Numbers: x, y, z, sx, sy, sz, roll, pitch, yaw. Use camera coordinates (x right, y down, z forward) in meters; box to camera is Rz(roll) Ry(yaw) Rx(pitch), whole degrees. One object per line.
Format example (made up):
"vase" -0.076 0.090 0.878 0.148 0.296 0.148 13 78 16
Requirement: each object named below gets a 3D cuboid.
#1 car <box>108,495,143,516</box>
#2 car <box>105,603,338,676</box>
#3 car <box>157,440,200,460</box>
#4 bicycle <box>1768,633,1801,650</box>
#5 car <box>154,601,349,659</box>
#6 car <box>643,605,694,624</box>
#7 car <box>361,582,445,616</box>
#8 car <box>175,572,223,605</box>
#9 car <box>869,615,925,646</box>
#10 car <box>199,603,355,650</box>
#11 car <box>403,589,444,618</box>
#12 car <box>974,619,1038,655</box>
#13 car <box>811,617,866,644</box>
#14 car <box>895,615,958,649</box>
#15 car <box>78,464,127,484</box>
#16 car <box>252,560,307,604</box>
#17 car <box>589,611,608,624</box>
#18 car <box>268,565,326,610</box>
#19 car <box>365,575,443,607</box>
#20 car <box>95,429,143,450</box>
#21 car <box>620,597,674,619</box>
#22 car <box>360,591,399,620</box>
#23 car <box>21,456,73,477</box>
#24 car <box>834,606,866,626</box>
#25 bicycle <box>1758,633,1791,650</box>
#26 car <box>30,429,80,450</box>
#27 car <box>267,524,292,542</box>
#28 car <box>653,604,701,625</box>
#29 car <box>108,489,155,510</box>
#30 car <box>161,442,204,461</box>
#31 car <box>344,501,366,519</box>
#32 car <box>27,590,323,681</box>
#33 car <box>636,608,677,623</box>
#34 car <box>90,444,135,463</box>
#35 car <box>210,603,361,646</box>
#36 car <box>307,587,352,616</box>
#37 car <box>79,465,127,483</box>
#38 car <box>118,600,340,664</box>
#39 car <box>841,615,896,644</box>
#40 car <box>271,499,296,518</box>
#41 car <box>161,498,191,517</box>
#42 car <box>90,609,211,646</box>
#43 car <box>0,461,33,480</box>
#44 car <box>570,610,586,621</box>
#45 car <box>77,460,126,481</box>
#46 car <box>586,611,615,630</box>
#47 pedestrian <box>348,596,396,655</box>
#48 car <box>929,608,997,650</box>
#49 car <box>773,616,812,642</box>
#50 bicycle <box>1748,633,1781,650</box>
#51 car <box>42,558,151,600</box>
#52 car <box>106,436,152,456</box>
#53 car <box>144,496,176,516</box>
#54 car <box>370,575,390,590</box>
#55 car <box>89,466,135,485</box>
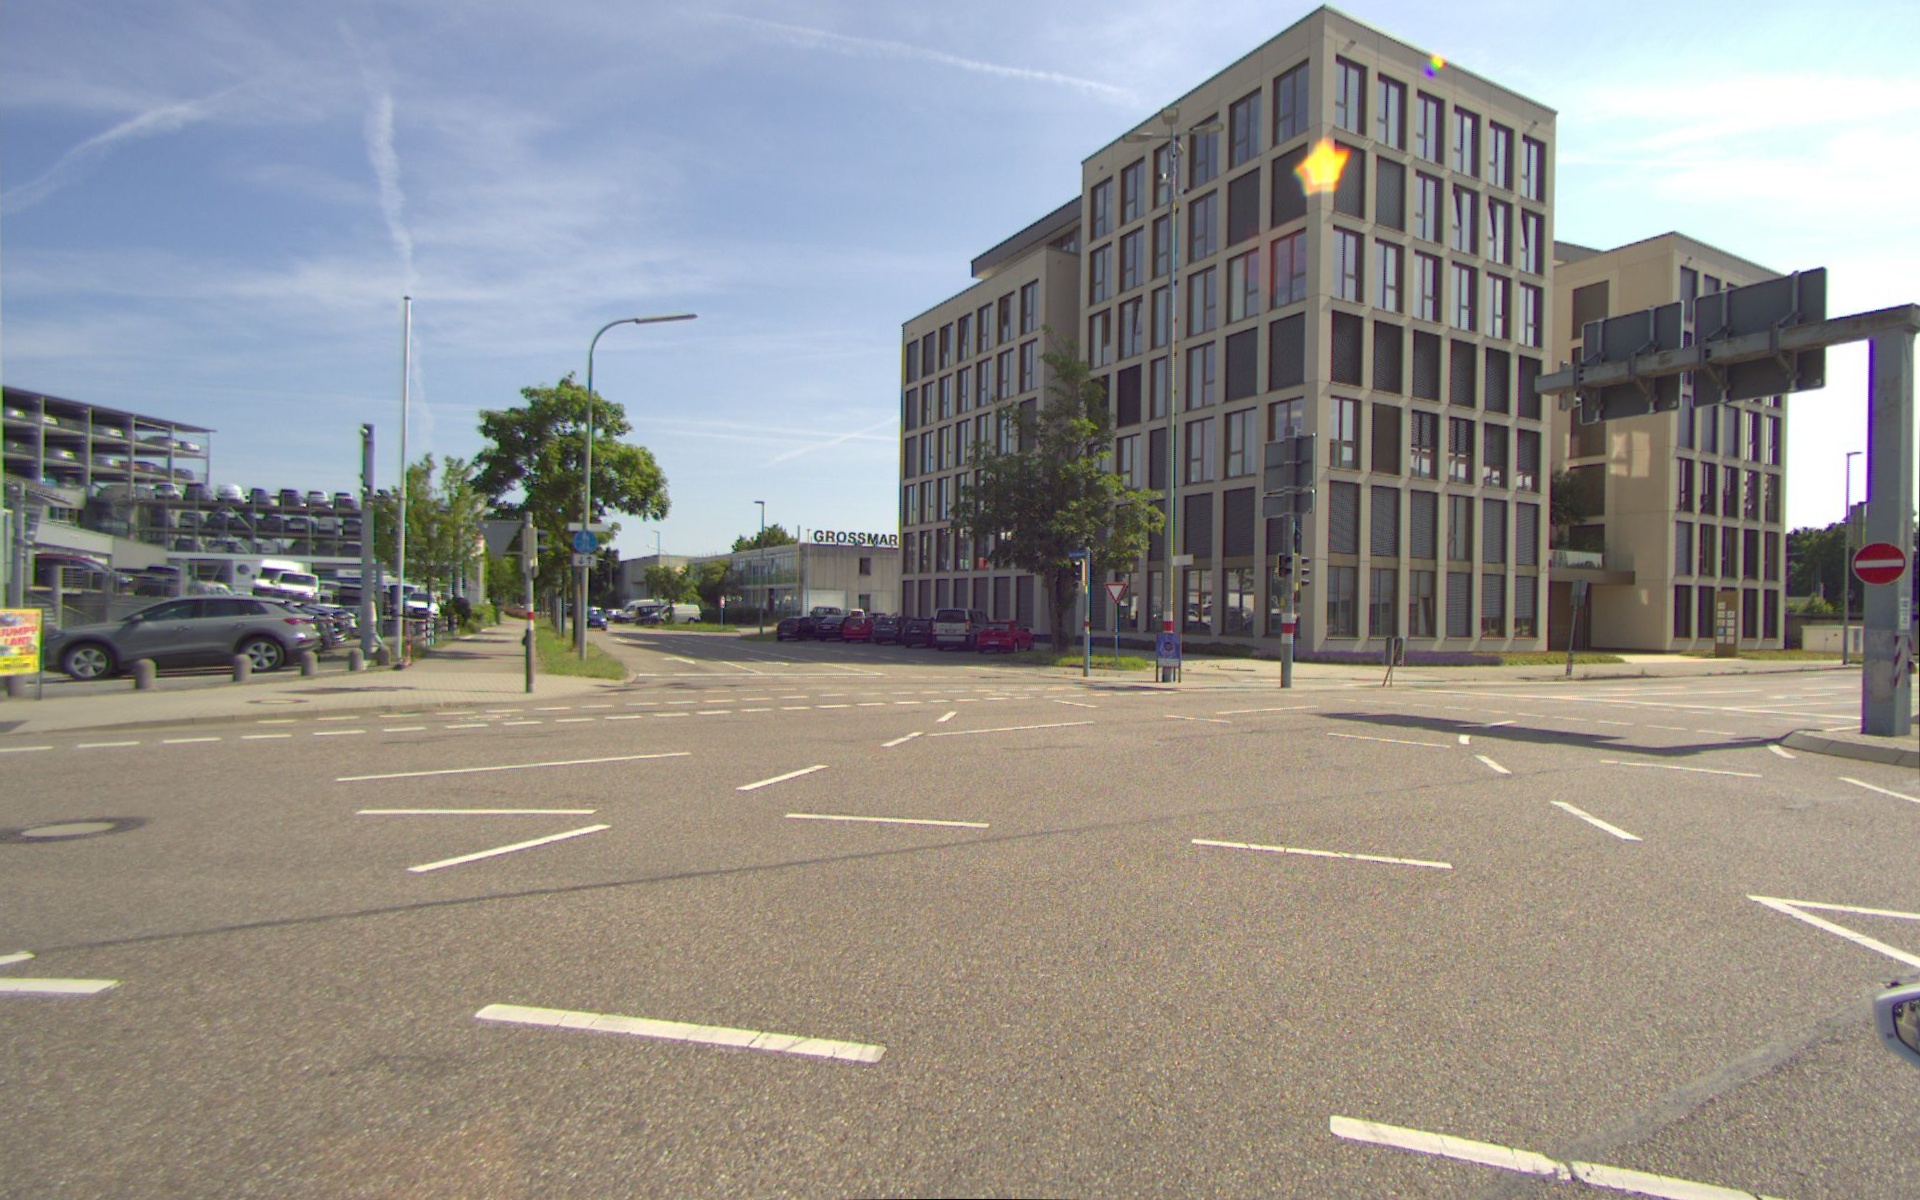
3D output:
"car" -88.696 -10.062 106.806 2.012 1.739 3.971 2 -1 -28
"car" -16.947 0.860 23.336 4.151 1.461 1.779 -2 1 -31
"car" -94.931 -18.237 122.032 3.959 1.739 2.018 2 -1 -34
"bicycle" 58.493 2.949 71.273 0.581 1.106 1.696 1 0 -28
"car" -21.189 0.857 30.310 4.619 1.537 1.769 -1 0 -31
"car" -29.867 1.499 102.991 4.636 1.812 1.885 2 -1 -30
"car" -36.090 -0.032 65.131 4.697 2.040 1.983 1 -1 -31
"car" -48.594 -0.699 64.241 1.831 2.040 4.039 1 -1 -29
"car" -3.318 1.582 53.469 1.628 1.518 3.964 0 0 18
"car" -23.657 0.878 35.013 4.350 1.461 1.779 -1 0 -31
"car" -32.917 0.170 61.561 1.977 1.595 3.951 1 1 -31
"car" 2.056 1.566 44.049 1.772 1.434 4.031 0 0 18
"car" -7.017 1.737 58.566 1.686 1.434 4.001 0 0 18
"car" -1.604 1.554 49.933 1.772 1.533 4.000 0 0 20
"car" -98.102 -14.402 114.990 3.959 1.739 2.018 2 -1 -34
"car" -39.341 -1.029 58.222 2.063 2.374 5.509 1 1 -28
"car" -50.605 2.433 140.492 2.012 1.739 3.971 2 -1 -28
"car" -32.427 -0.622 49.244 2.066 1.932 4.508 6 -2 -31
"car" -38.616 -0.594 69.785 4.697 2.040 1.983 1 -1 -31
"car" -95.898 -18.282 114.645 3.959 1.739 2.018 2 -1 -34
"car" -36.935 0.970 118.607 5.827 2.464 2.360 2 -1 -26
"car" -34.898 0.311 60.342 1.977 1.595 3.952 1 1 -31
"car" -100.676 -14.697 110.786 3.959 1.739 2.018 2 -1 -34
"car" -10.051 1.411 91.904 1.678 1.706 3.939 1 0 -26
"bicycle" 57.147 2.915 70.465 0.581 1.106 1.696 1 0 -28
"car" -104.073 -18.429 115.551 3.959 1.739 2.018 2 -1 -34
"car" -80.215 -7.912 118.438 2.012 1.739 3.971 2 -1 -28
"car" -27.644 1.457 98.072 4.189 1.966 1.885 2 -1 -30
"car" -96.881 -11.756 117.495 3.957 2.040 1.982 2 2 -33
"car" -96.343 -18.367 124.514 3.959 1.739 2.018 2 -1 -34
"car" -71.937 -10.669 119.429 2.012 1.739 3.971 2 -1 -28
"car" -15.991 0.663 20.813 4.539 1.635 1.805 -2 1 -30
"car" -31.870 1.618 105.525 3.833 1.470 1.752 2 -1 -30
"car" -102.679 -17.741 121.748 3.959 1.739 2.018 2 -1 -34
"car" -24.952 0.859 37.384 4.506 1.461 1.779 -1 0 -31
"car" -37.222 0.043 59.371 1.975 1.595 3.956 1 1 -28
"car" -98.418 -14.481 115.373 3.919 1.739 2.038 1 -1 7
"car" -19.973 0.820 27.743 4.721 1.526 1.779 -2 1 -31
"car" -5.062 1.642 56.266 1.655 1.500 4.001 0 0 18
"car" -80.119 -10.830 119.008 2.012 1.739 3.971 2 -1 -28
"car" -90.965 -10.678 116.546 2.012 1.739 3.971 2 -1 -28
"car" -33.766 1.134 42.049 1.762 1.461 4.027 1 -1 0
"car" -106.462 -14.538 112.161 3.959 1.739 2.018 2 -1 -34
"car" -61.904 2.548 162.798 2.012 1.739 3.971 2 -1 -28
"car" -96.718 -14.541 113.172 3.959 1.739 2.018 2 -1 -34
"car" -25.935 1.447 72.494 1.637 1.307 3.781 2 -1 -25
"pedestrian" -17.986 0.775 30.751 0.986 1.773 0.915 1 -1 -11
"car" 0.213 1.327 47.223 1.860 1.845 4.815 0 0 17
"car" -9.866 1.701 59.449 1.638 1.434 3.616 0 0 1
"bicycle" 55.843 2.872 69.765 0.581 1.106 1.696 1 0 -28
"car" -45.355 -1.073 52.856 4.023 2.040 1.838 1 -1 -31
"car" -99.677 -18.448 120.517 3.959 1.739 2.018 2 -1 -34
"car" -86.580 -10.127 108.733 2.012 1.739 3.971 2 -1 -28
"car" -73.517 -2.195 127.442 2.012 1.739 3.971 2 -1 -28
"car" -102.736 -15.043 121.746 3.959 1.739 2.018 2 -1 -34
